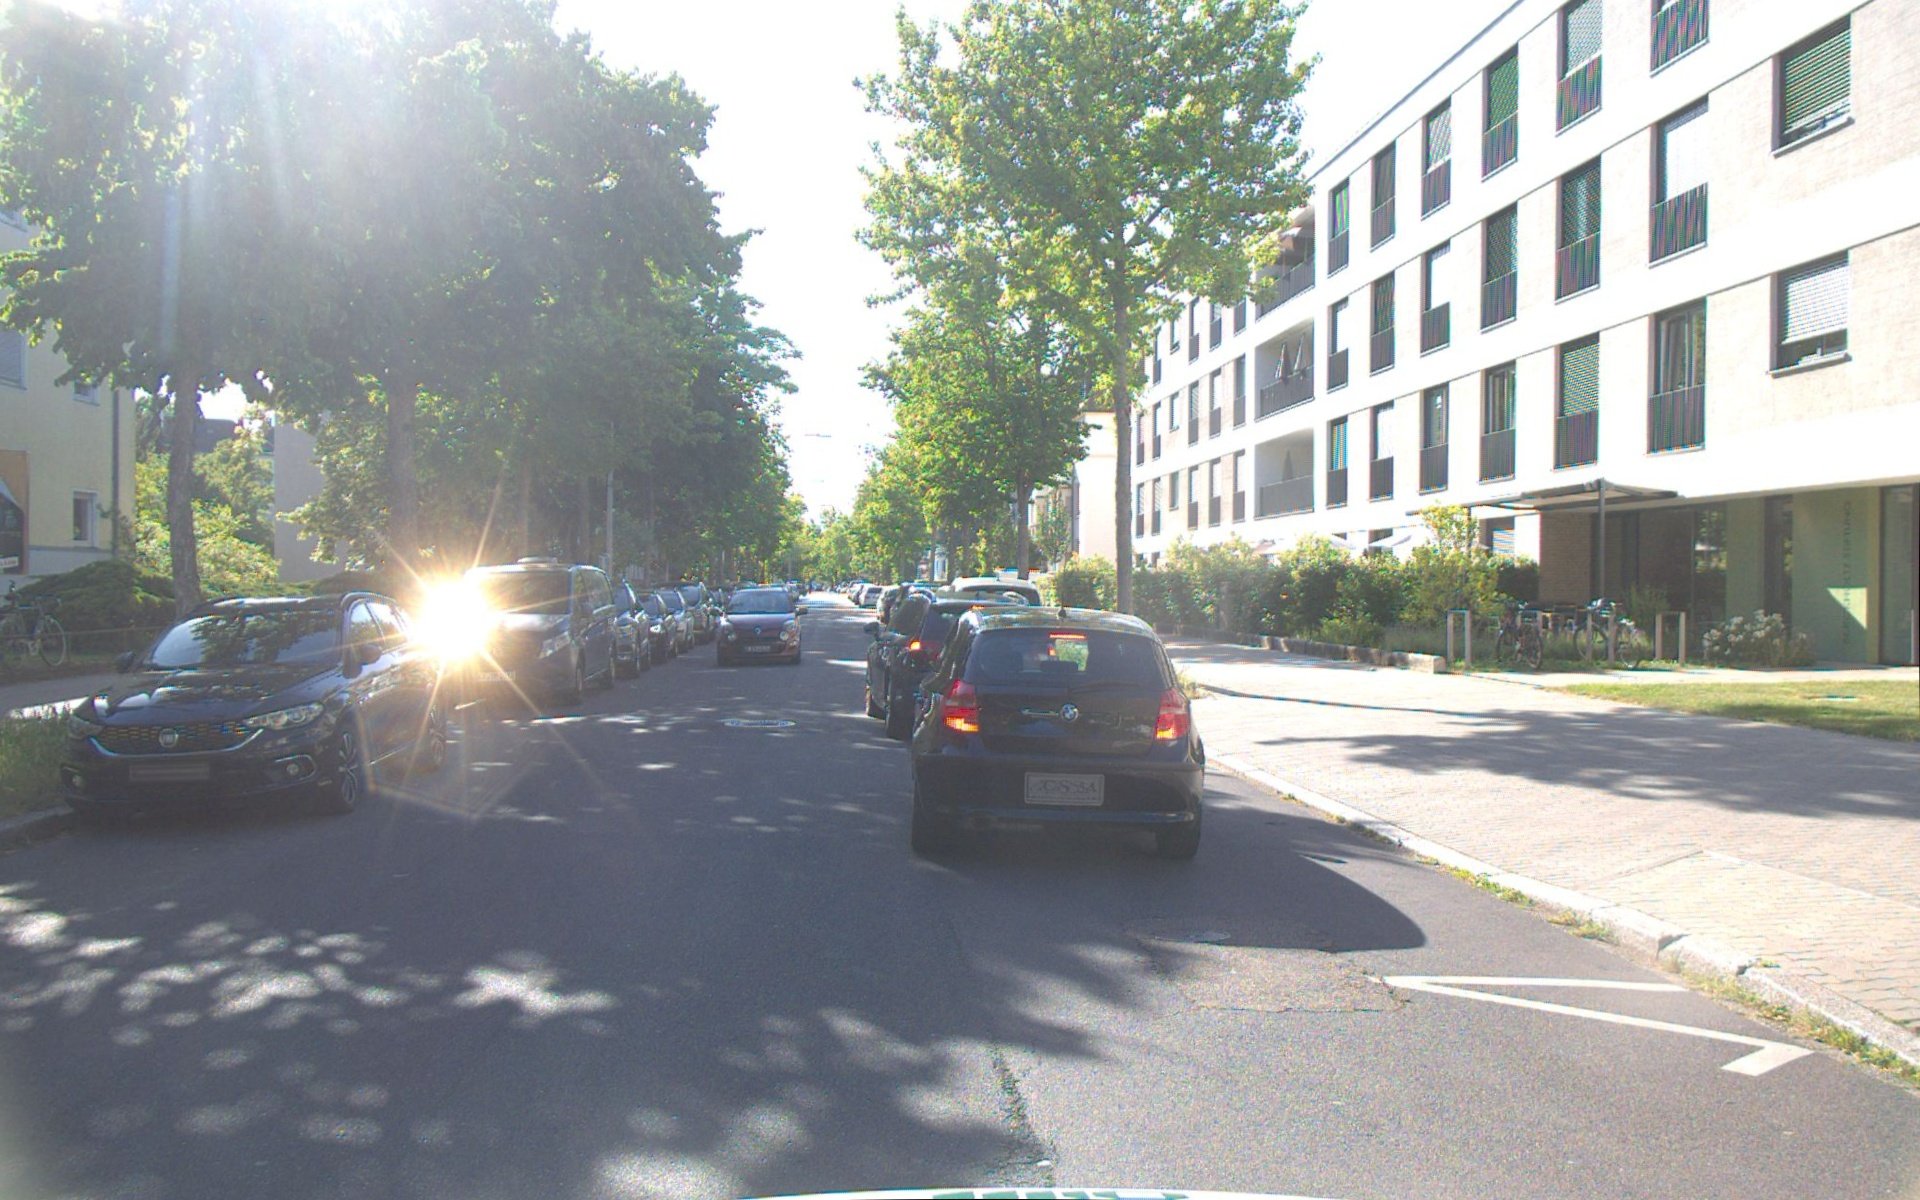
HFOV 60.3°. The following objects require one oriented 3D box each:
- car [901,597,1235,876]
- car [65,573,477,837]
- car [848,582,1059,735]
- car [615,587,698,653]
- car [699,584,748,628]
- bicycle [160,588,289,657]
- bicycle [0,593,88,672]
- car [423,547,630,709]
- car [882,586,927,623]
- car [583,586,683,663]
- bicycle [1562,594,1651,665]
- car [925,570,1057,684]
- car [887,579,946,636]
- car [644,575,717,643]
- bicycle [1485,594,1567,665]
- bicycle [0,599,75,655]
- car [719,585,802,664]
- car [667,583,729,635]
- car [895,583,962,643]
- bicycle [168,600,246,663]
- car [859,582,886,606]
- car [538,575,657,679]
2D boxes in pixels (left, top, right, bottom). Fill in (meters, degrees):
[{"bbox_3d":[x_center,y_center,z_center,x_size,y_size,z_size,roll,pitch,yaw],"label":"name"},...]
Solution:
[{"bbox_3d":[0.524,0.717,10.500,1.617,1.421,3.408,-1,1,-5],"label":"car"},{"bbox_3d":[-4.988,0.632,12.707,1.478,1.575,4.773,-2,1,-5],"label":"car"},{"bbox_3d":[-0.183,0.534,17.991,1.619,1.450,3.991,-1,1,-10],"label":"car"},{"bbox_3d":[-7.131,0.433,39.137,1.581,1.452,3.722,-1,1,-5],"label":"car"},{"bbox_3d":[-8.785,0.189,61.724,1.581,1.570,3.861,-1,1,-5],"label":"car"},{"bbox_3d":[-13.793,0.411,31.083,2.110,1.230,0.687,-1,1,-16],"label":"bicycle"},{"bbox_3d":[-12.521,0.414,22.336,0.583,1.009,1.926,0,1,-4],"label":"bicycle"},{"bbox_3d":[-5.857,0.318,22.951,1.790,1.937,5.138,-1,1,-4],"label":"car"},{"bbox_3d":[-2.314,0.176,67.940,1.687,1.403,3.848,2,0,-4],"label":"car"},{"bbox_3d":[-6.675,0.462,34.068,1.581,1.452,4.054,-1,1,-5],"label":"car"},{"bbox_3d":[10.246,0.442,26.278,0.535,1.073,1.777,-1,0,-7],"label":"bicycle"},{"bbox_3d":[0.413,0.404,26.805,1.811,1.659,4.408,1,0,-3],"label":"car"},{"bbox_3d":[-1.430,0.216,52.856,1.687,1.669,3.848,2,0,-4],"label":"car"},{"bbox_3d":[-7.478,0.216,44.562,1.581,1.708,4.229,-1,1,-5],"label":"car"},{"bbox_3d":[8.918,0.451,26.122,0.535,1.073,1.689,-1,0,-7],"label":"bicycle"},{"bbox_3d":[-17.411,0.500,30.416,1.888,1.009,0.595,-1,1,-12],"label":"bicycle"},{"bbox_3d":[-3.882,0.435,32.570,1.476,1.451,3.175,-1,1,-4],"label":"car"},{"bbox_3d":[-7.917,0.243,50.244,1.581,1.478,3.861,-1,1,-5],"label":"car"},{"bbox_3d":[-0.935,0.331,46.875,1.687,1.555,3.997,2,0,-4],"label":"car"},{"bbox_3d":[-12.855,0.519,28.285,0.583,1.009,1.926,0,1,-4],"label":"bicycle"},{"bbox_3d":[-5.696,-0.394,107.842,1.686,1.506,3.850,-1,1,-2],"label":"car"},{"bbox_3d":[-6.232,0.414,28.782,1.581,1.639,4.223,-1,1,-7],"label":"car"}]
